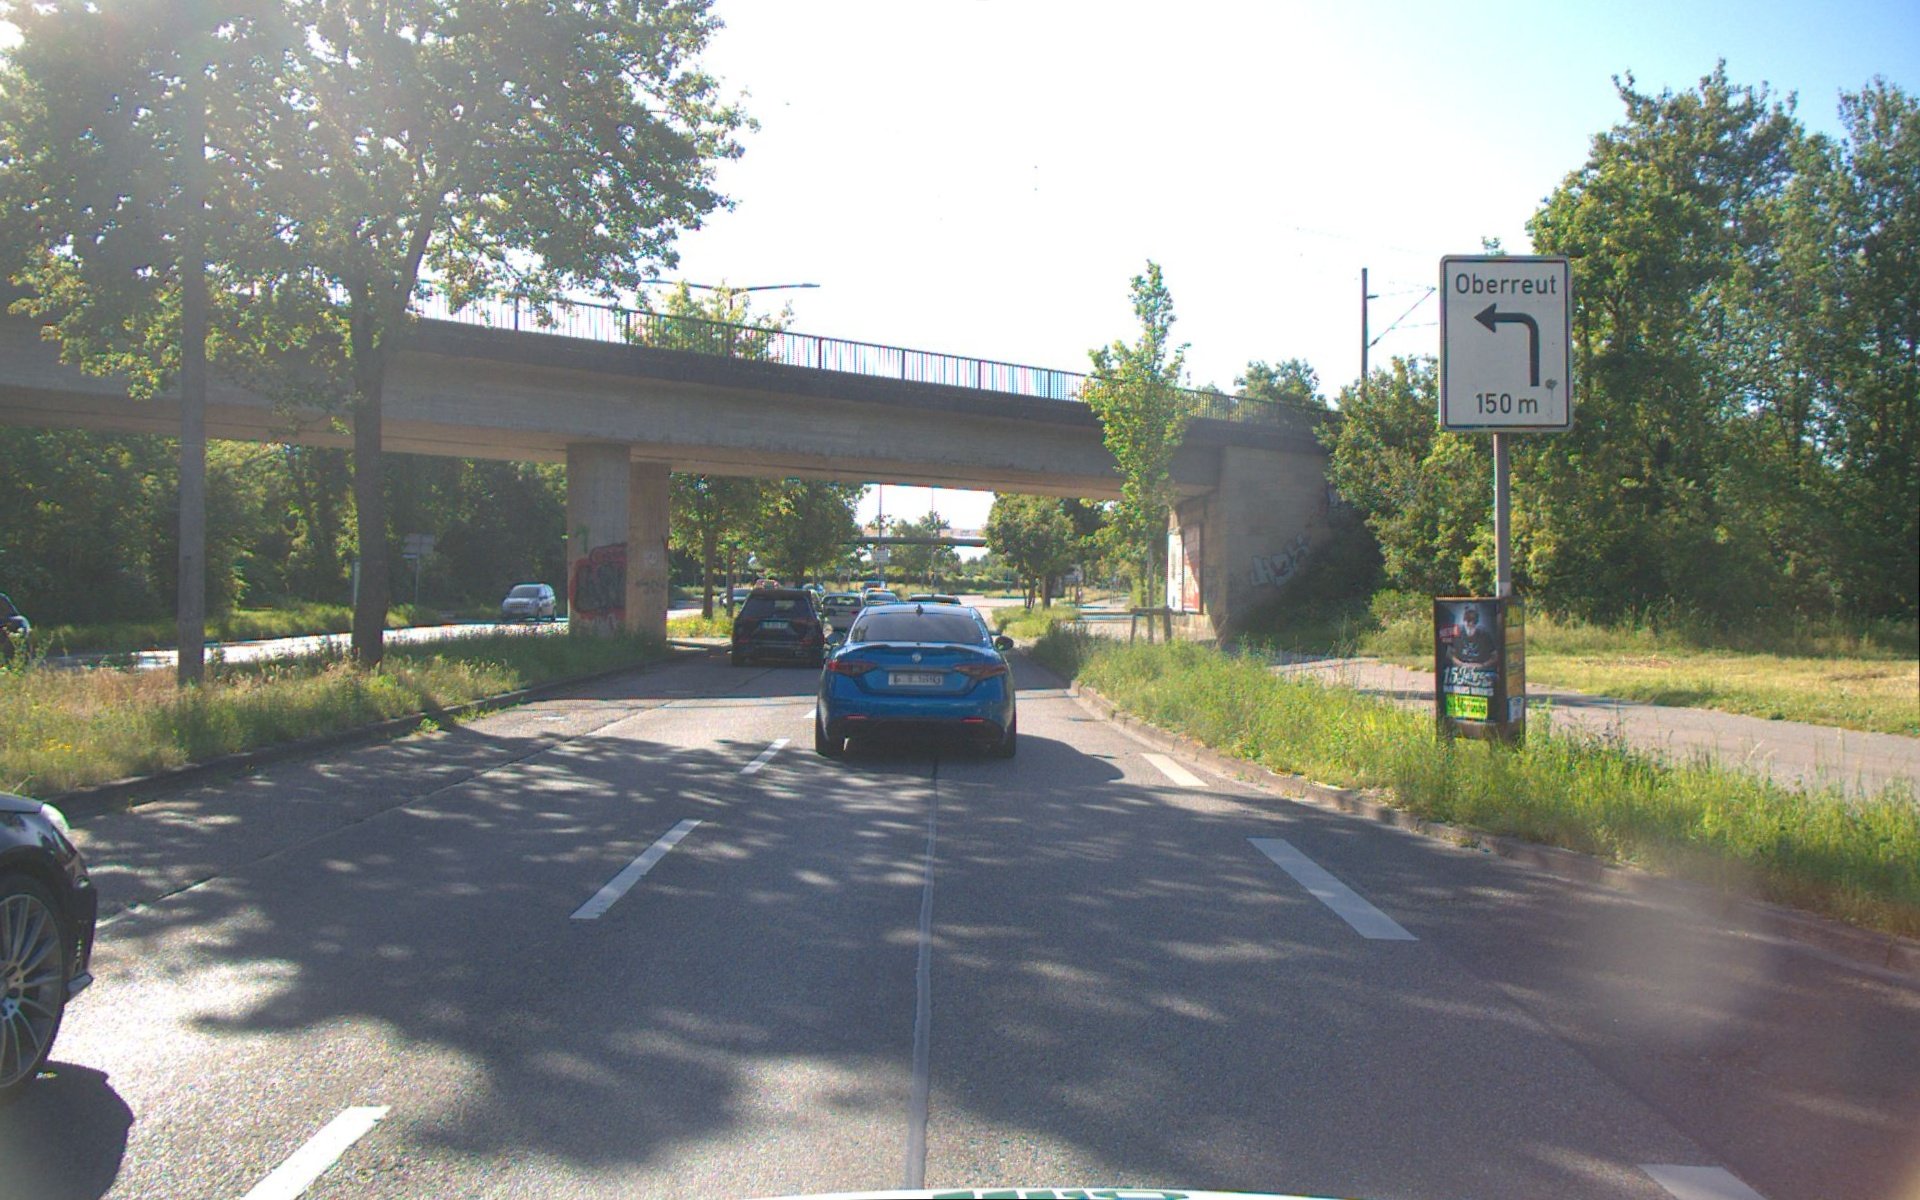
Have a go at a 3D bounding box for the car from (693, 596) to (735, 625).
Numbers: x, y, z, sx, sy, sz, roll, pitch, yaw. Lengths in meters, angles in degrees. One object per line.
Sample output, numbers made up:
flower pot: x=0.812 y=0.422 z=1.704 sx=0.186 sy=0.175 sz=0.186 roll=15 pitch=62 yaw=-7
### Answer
car: x=-14.109 y=0.585 z=94.885 sx=1.805 sy=1.570 sz=3.999 roll=-2 pitch=0 yaw=-1

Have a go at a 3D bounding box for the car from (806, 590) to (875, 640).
car: x=-3.767 y=0.462 z=52.680 sx=1.845 sy=1.479 sz=4.525 roll=2 pitch=0 yaw=-1

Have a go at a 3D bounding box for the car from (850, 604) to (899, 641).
car: x=-3.595 y=0.937 z=70.207 sx=1.845 sy=1.479 sz=4.525 roll=2 pitch=0 yaw=-1

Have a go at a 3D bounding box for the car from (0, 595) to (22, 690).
car: x=-15.804 y=0.657 z=24.275 sx=1.779 sy=1.467 sz=4.089 roll=0 pitch=0 yaw=-1

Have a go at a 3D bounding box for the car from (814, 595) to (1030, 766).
car: x=-0.347 y=0.705 z=16.546 sx=1.845 sy=1.431 sz=4.223 roll=2 pitch=0 yaw=-1

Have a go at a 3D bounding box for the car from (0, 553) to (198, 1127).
car: x=-3.477 y=0.617 z=2.948 sx=1.919 sy=1.509 sz=4.918 roll=1 pitch=0 yaw=0

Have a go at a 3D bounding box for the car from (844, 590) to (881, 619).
car: x=-5.094 y=0.217 z=86.729 sx=1.743 sy=1.479 sz=4.181 roll=0 pitch=0 yaw=-1

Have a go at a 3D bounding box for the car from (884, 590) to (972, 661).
car: x=-0.713 y=0.551 z=38.060 sx=1.845 sy=1.479 sz=4.525 roll=2 pitch=0 yaw=-1

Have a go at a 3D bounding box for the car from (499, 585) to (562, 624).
car: x=-19.027 y=0.196 z=73.466 sx=1.694 sy=1.645 sz=4.179 roll=-1 pitch=0 yaw=0

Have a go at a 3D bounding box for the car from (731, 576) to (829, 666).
car: x=-3.543 y=0.400 z=33.136 sx=1.674 sy=1.626 sz=4.221 roll=2 pitch=0 yaw=-3
